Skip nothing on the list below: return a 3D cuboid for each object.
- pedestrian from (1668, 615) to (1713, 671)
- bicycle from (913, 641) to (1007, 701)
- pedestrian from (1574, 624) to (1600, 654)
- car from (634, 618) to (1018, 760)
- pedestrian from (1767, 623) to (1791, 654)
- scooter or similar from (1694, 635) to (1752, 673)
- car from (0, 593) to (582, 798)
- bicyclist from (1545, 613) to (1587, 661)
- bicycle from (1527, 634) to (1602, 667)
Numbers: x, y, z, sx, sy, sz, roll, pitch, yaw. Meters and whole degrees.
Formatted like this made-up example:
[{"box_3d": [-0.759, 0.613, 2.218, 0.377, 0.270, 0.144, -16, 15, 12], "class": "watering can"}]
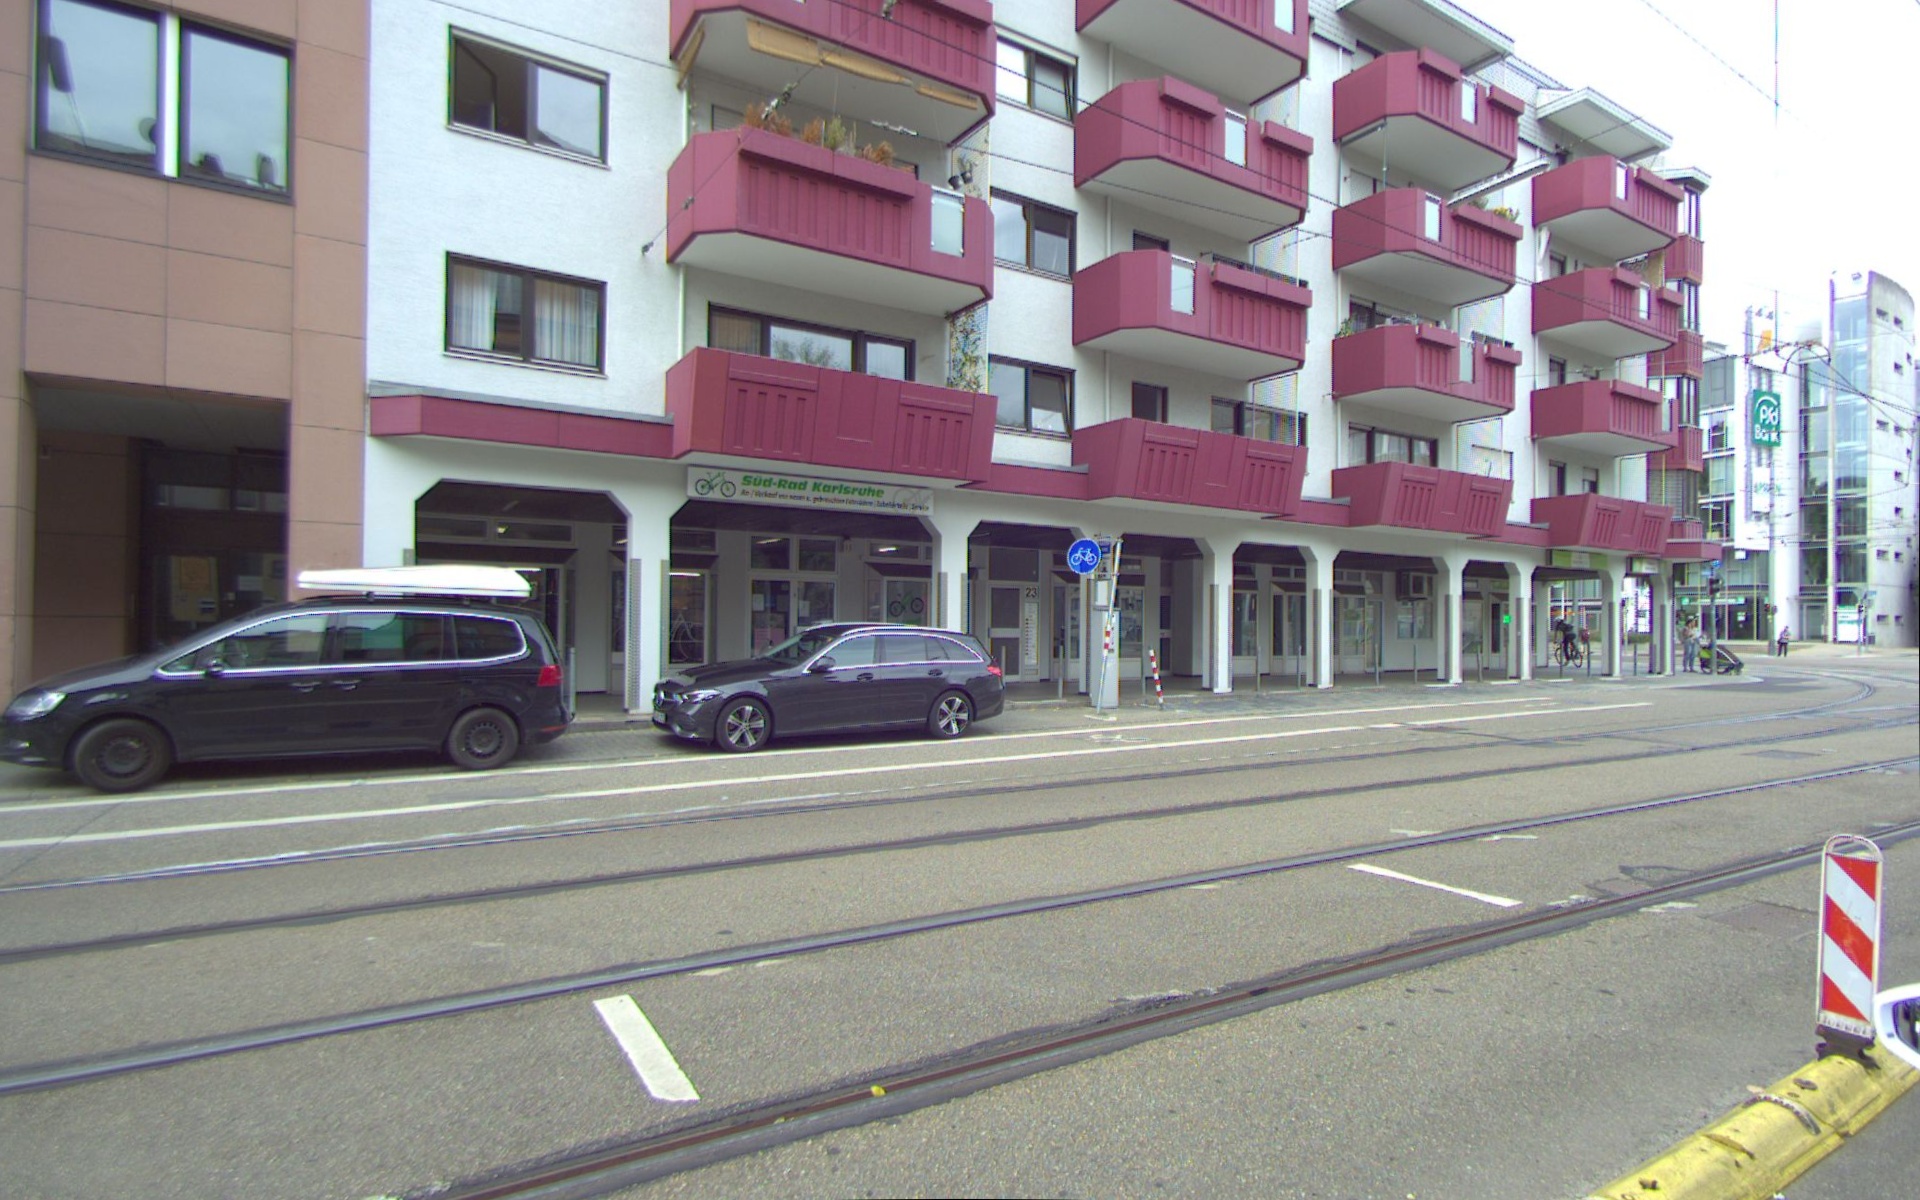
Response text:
[{"box_3d": [23.421, 1.356, 32.219, 0.803, 1.766, 0.942, 1, -1, -33], "class": "pedestrian"}, {"box_3d": [0.014, 1.199, 17.337, 1.636, 0.966, 0.560, 1, -1, -39], "class": "bicycle"}, {"box_3d": [34.823, 2.160, 55.800, 0.753, 1.693, 0.935, 1, -1, -17], "class": "pedestrian"}, {"box_3d": [-1.649, 1.032, 13.047, 4.645, 1.500, 1.745, 1, 1, -32], "class": "car"}, {"box_3d": [49.518, 2.316, 60.721, 0.754, 1.889, 0.833, 1, -1, -17], "class": "pedestrian"}, {"box_3d": [23.906, 1.680, 31.480, 0.936, 1.143, 1.189, 1, 0, -32], "class": "scooter or similar"}, {"box_3d": [-6.471, 0.821, 10.235, 4.645, 1.669, 1.797, 1, 1, -32], "class": "car"}, {"box_3d": [21.219, 1.294, 35.199, 0.740, 1.673, 1.051, 1, -1, -18], "class": "bicyclist"}, {"box_3d": [21.197, 1.754, 35.260, 0.753, 1.101, 2.352, 1, -1, -17], "class": "bicycle"}]
